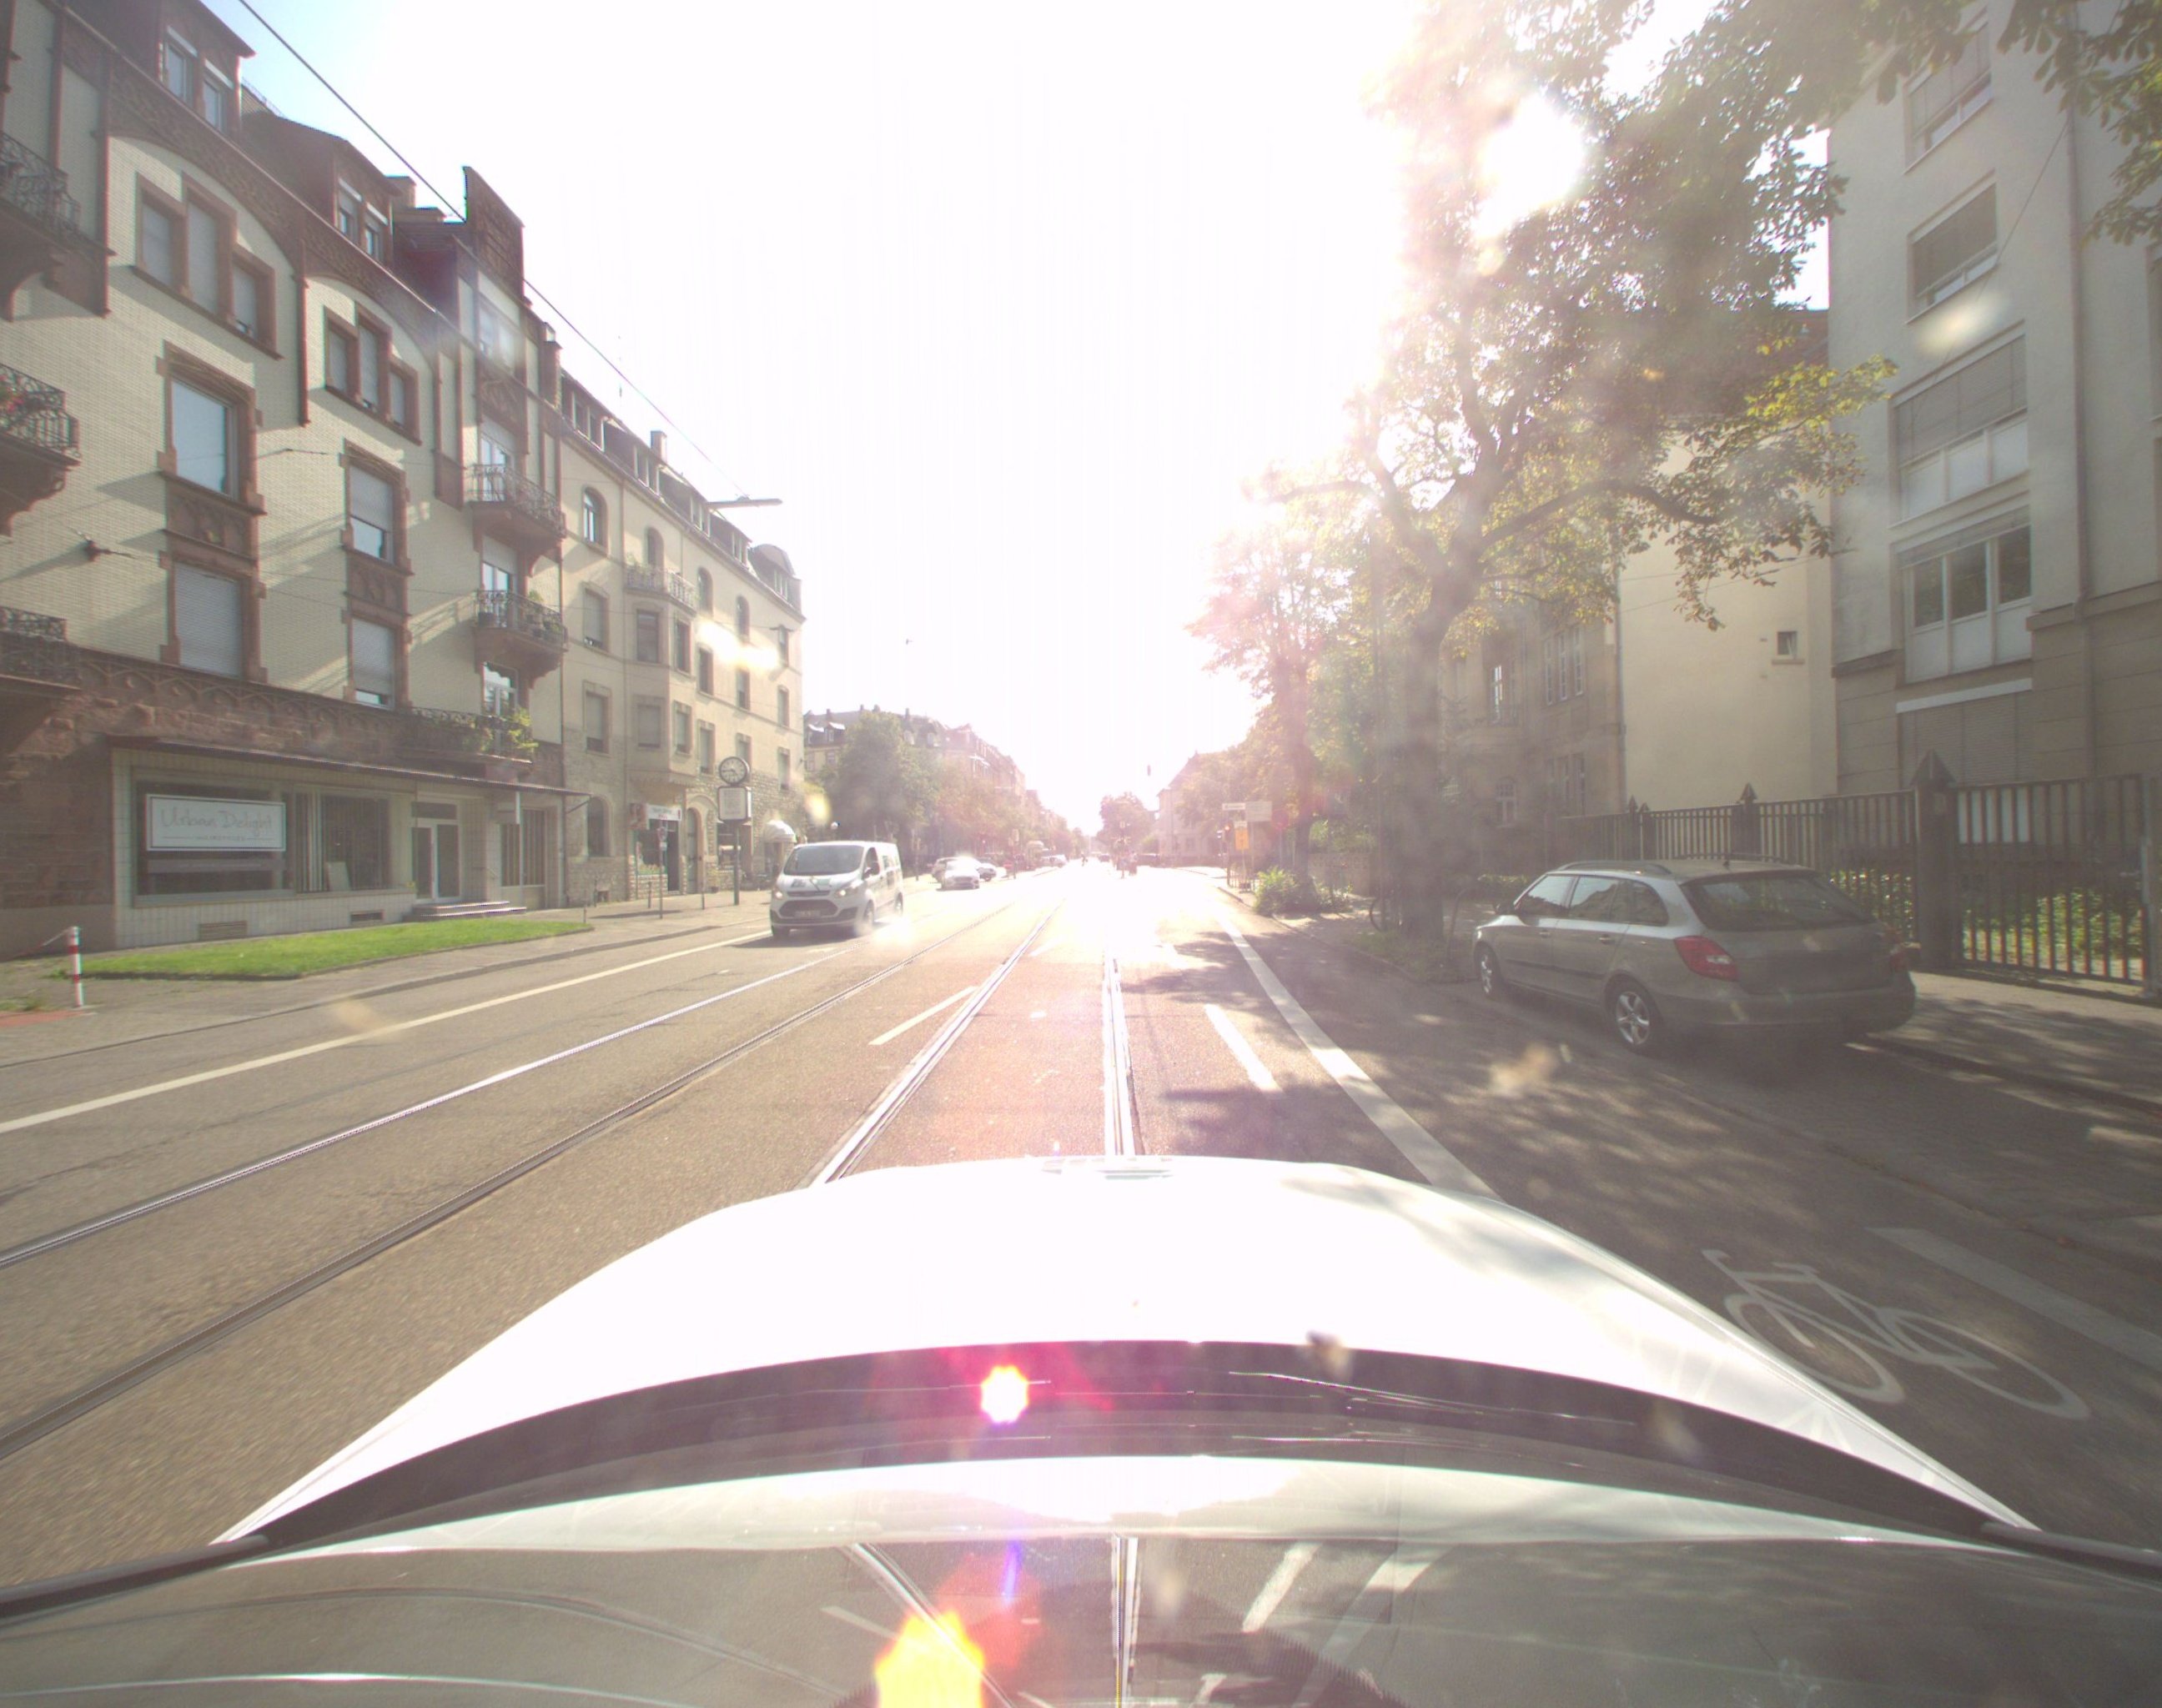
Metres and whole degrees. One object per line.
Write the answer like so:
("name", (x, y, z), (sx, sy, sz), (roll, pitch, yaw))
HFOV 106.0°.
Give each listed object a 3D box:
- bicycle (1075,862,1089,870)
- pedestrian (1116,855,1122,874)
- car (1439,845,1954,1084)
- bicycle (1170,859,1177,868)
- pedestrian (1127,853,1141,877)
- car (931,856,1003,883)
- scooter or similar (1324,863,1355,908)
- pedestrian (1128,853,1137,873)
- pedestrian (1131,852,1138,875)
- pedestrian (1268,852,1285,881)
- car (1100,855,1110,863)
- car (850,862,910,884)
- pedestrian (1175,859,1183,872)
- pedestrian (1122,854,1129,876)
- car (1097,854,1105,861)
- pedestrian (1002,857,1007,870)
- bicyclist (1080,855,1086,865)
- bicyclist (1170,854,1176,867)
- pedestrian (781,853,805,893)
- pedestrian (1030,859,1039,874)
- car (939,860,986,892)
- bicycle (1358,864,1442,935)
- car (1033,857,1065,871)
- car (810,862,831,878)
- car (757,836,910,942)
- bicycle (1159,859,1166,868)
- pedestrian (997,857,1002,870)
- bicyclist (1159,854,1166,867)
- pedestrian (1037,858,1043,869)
("bicycle", (0.139, 1.486, 103.808), (1.845, 0.958, 0.548), (-1, 0, -2))
("pedestrian", (3.493, 0.980, 75.116), (0.530, 1.759, 0.545), (1, 2, 3))
("car", (5.171, 0.769, 7.759), (1.601, 1.524, 4.359), (-4, 0, 2))
("bicycle", (10.271, 1.044, 90.625), (0.556, 0.978, 1.856), (-1, 0, 0))
("pedestrian", (3.902, 0.795, 59.886), (0.693, 1.725, 0.753), (2, 2, 35))
("car", (-7.471, 1.035, 53.360), (4.278, 1.630, 2.012), (-2, 0, 25))
("scooter or similar", (7.172, 0.857, 22.616), (0.555, 1.197, 1.036), (-4, -1, 7))
("pedestrian", (4.625, 0.840, 73.043), (0.706, 1.759, 0.534), (1, 2, 2))
("pedestrian", (4.225, 0.750, 64.146), (0.502, 1.833, 0.534), (1, 2, 2))
("pedestrian", (11.776, 0.747, 48.996), (0.749, 1.731, 0.770), (-1, -1, -7))
("car", (4.844, 1.021, 161.895), (1.794, 1.653, 3.645), (-1, 0, 3))
("car", (-14.127, 1.301, 57.192), (4.727, 1.466, 1.881), (-1, 0, 45))
("pedestrian", (13.142, 1.548, 109.244), (0.883, 1.740, 0.780), (-1, -1, 23))
("pedestrian", (3.749, 0.933, 68.867), (0.502, 1.759, 0.534), (1, 2, 2))
("car", (4.936, 0.883, 199.628), (1.794, 1.653, 3.645), (-1, 0, 3))
("pedestrian", (-10.714, 1.298, 114.238), (0.527, 1.759, 0.548), (2, 2, 28))
("bicyclist", (0.261, 0.747, 103.818), (0.816, 1.328, 0.548), (-1, 0, -1))
("bicyclist", (10.256, 0.672, 90.642), (0.556, 1.417, 0.871), (-1, 0, 0))
("pedestrian", (-13.612, 0.883, 38.497), (0.771, 1.859, 0.830), (-1, -1, -1))
("pedestrian", (-4.399, 1.148, 76.771), (0.826, 1.359, 0.775), (-1, -1, -3))
("car", (-6.203, 1.115, 43.188), (1.867, 1.454, 4.542), (-4, 0, -2))
("bicycle", (6.060, 0.847, 15.437), (1.851, 1.166, 0.499), (-3, -5, -39))
("car", (-4.065, 1.259, 102.318), (3.956, 1.552, 1.997), (-1, 0, -4))
("car", (-26.277, 1.584, 82.331), (1.868, 1.466, 4.760), (-1, 0, -16))
("car", (-5.328, 0.693, 18.289), (1.988, 2.013, 4.856), (-1, 0, -2))
("bicycle", (9.115, 1.014, 91.219), (0.627, 0.978, 1.770), (-1, 0, 0))
("pedestrian", (-11.400, 1.327, 113.546), (0.527, 1.690, 0.548), (2, 2, 22))
("bicyclist", (9.114, 0.713, 91.219), (0.627, 1.507, 0.678), (-1, 0, 0))
("pedestrian", (-6.062, 1.399, 121.670), (0.746, 1.731, 0.772), (-1, -1, 4))
